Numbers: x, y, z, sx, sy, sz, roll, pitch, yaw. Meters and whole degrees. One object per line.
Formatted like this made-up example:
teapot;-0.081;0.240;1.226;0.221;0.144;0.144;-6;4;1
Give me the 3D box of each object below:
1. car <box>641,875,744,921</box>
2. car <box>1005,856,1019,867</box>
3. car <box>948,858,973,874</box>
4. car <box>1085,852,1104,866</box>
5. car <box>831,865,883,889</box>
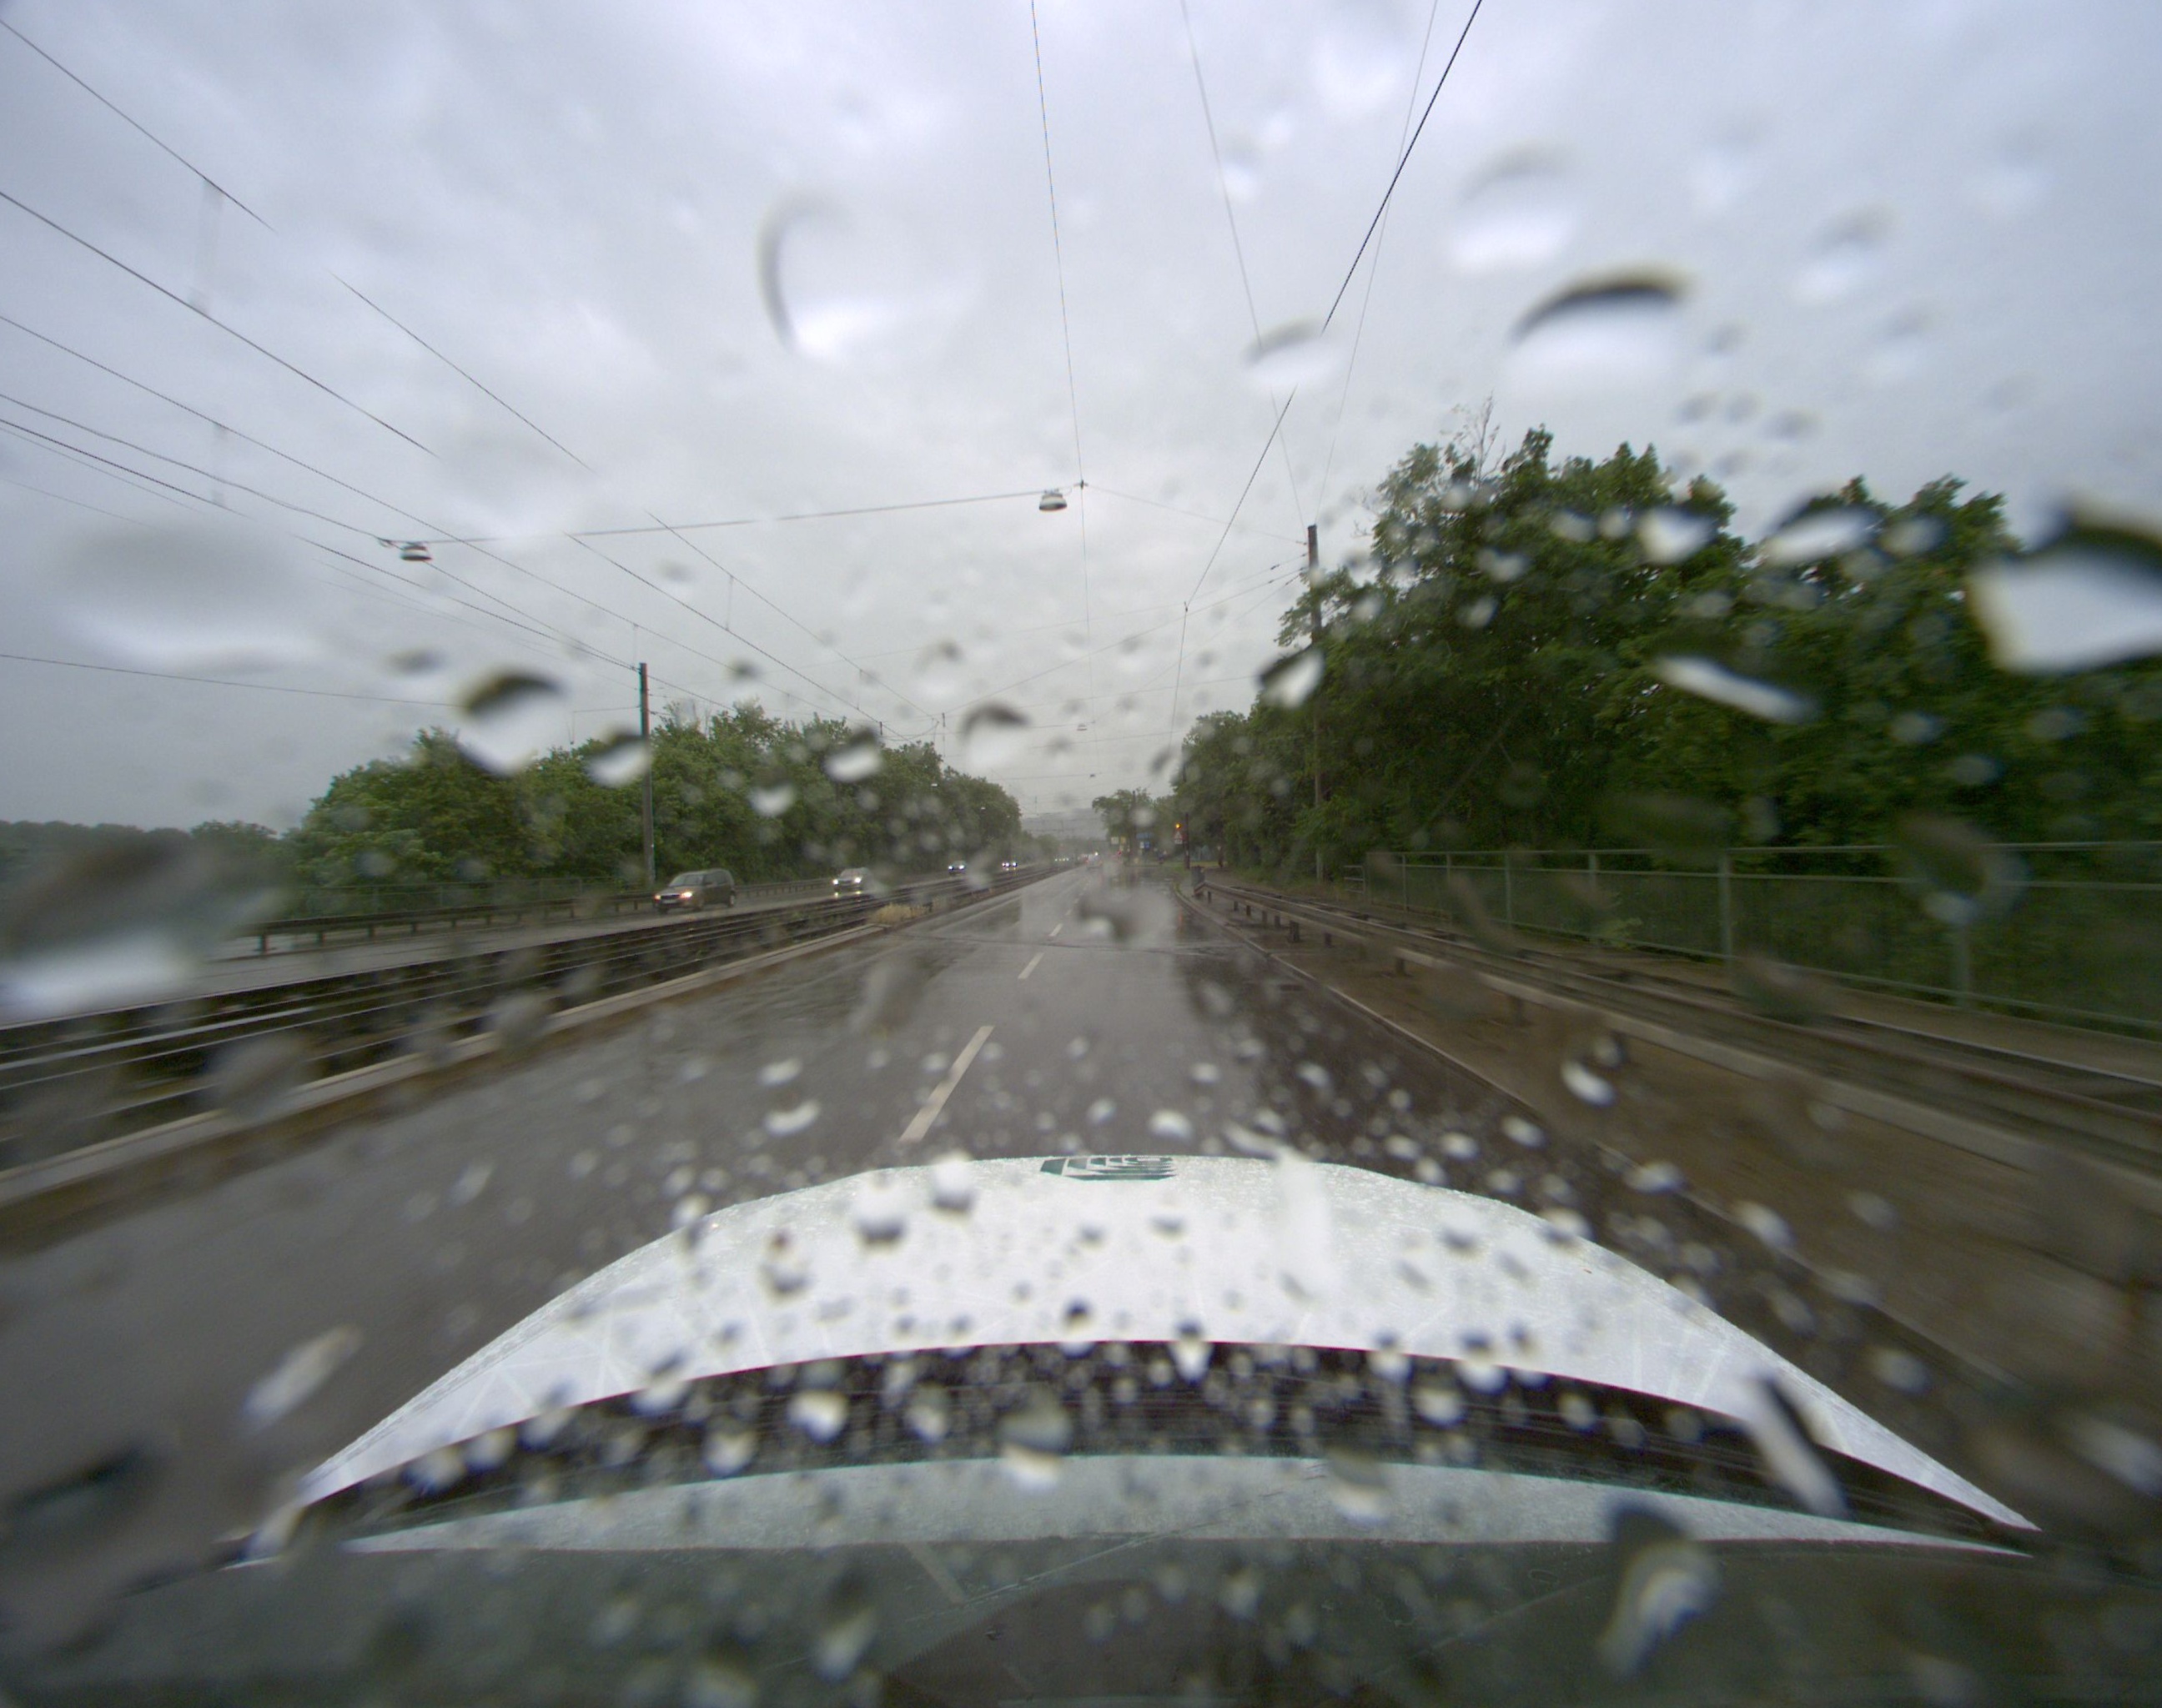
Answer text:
car;-15.332;1.678;32.422;1.834;1.574;4.387;-1;0;2
car;-12.975;1.419;153.149;1.986;1.783;4.001;3;0;1
car;-13.810;1.339;93.408;1.987;1.672;4.873;-1;0;1
car;1.544;0.577;90.926;2.069;1.420;4.002;-3;0;2
car;-14.683;1.493;53.679;1.987;1.388;4.854;-1;0;1
